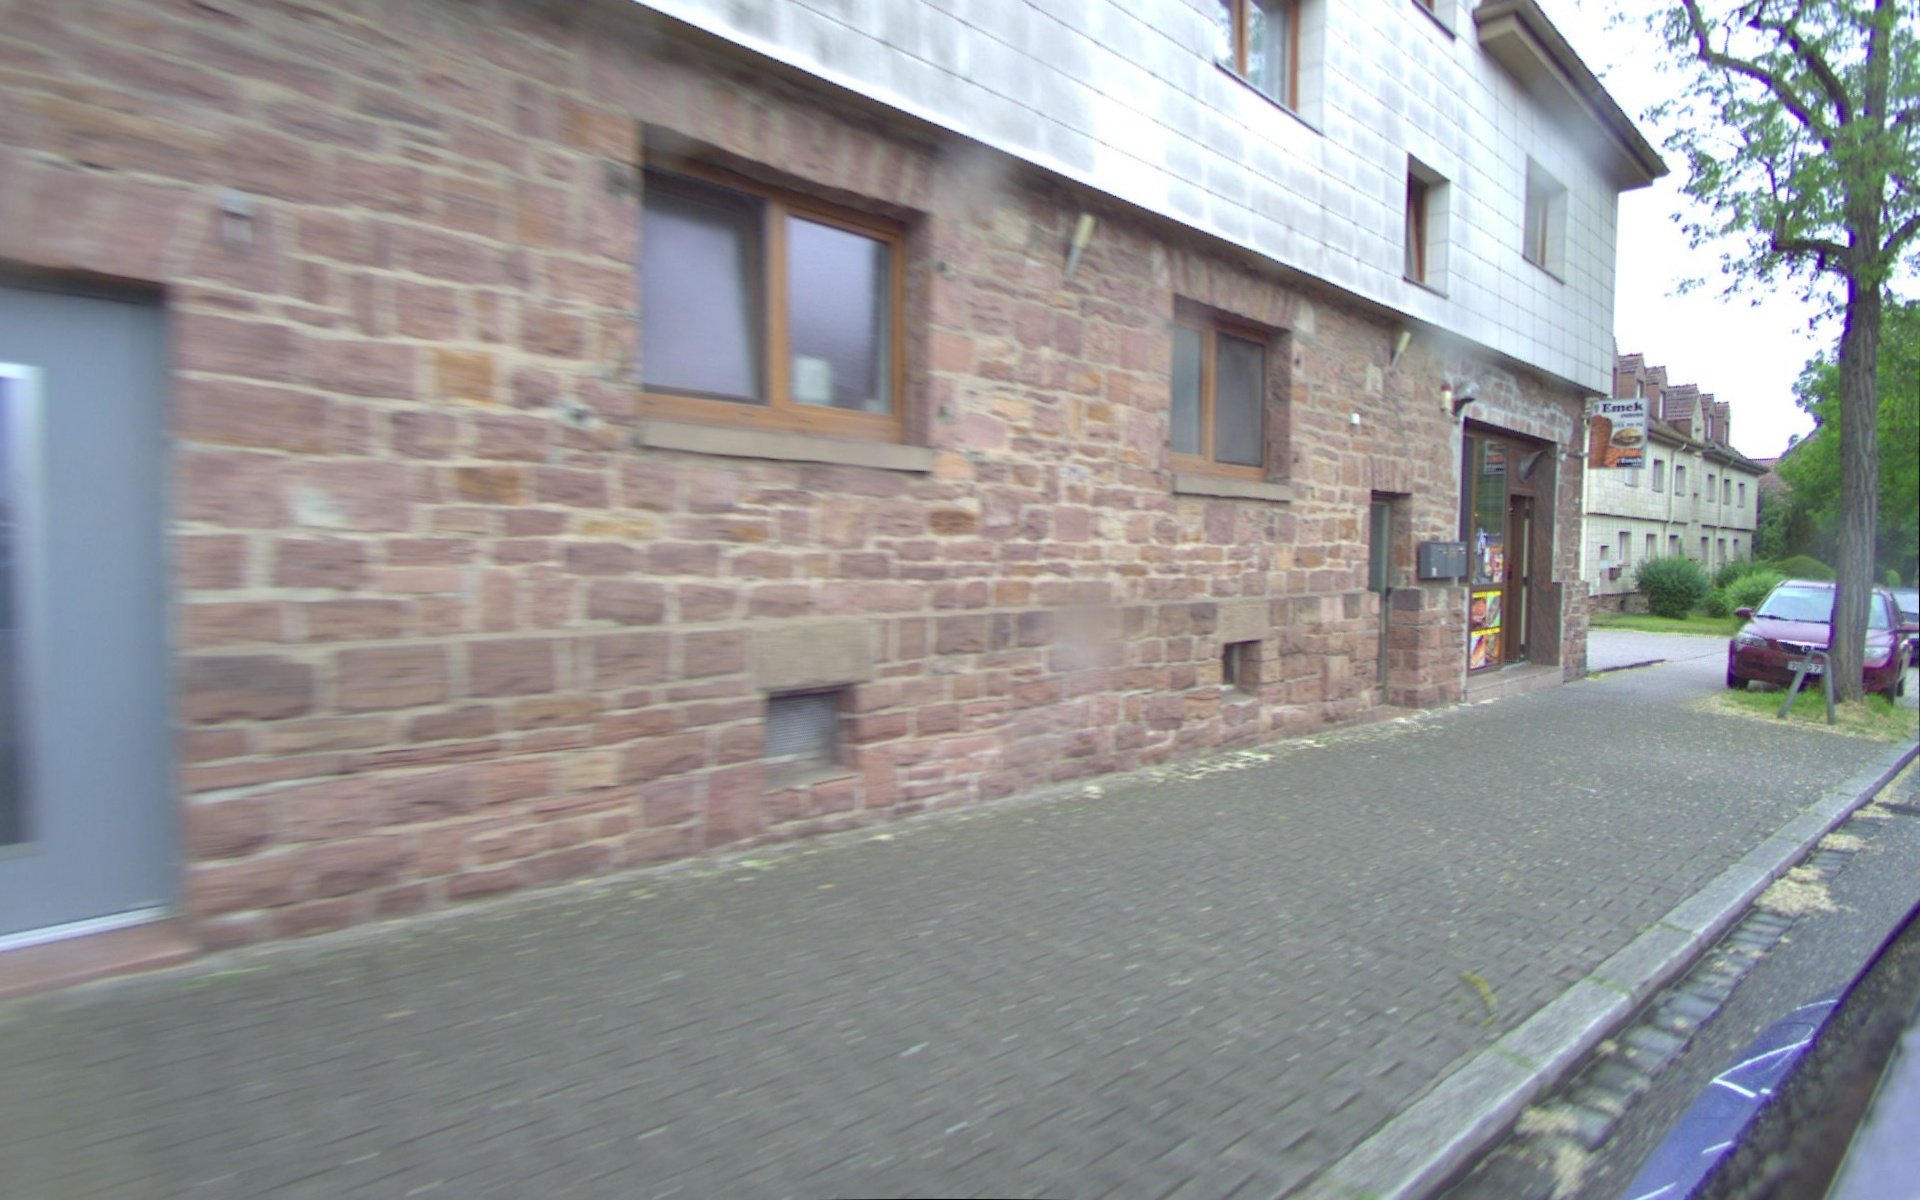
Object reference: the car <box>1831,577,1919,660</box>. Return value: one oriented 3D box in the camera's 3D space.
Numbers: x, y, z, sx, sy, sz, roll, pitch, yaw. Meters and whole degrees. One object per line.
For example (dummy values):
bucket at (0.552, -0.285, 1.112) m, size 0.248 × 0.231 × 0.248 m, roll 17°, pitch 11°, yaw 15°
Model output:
car at (18.932, 0.322, 20.196) m, size 3.931 × 1.441 × 1.720 m, roll -1°, pitch 5°, yaw -41°

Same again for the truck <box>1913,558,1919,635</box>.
truck at (30.274, -0.069, 30.166) m, size 5.654 × 2.223 × 1.998 m, roll 0°, pitch 3°, yaw -40°

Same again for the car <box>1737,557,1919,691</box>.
car at (11.646, 0.289, 13.413) m, size 3.694 × 1.523 × 1.612 m, roll 1°, pitch 0°, yaw -44°

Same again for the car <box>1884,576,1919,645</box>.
car at (22.991, 0.236, 23.588) m, size 3.933 × 1.481 × 1.719 m, roll -2°, pitch 5°, yaw -43°
